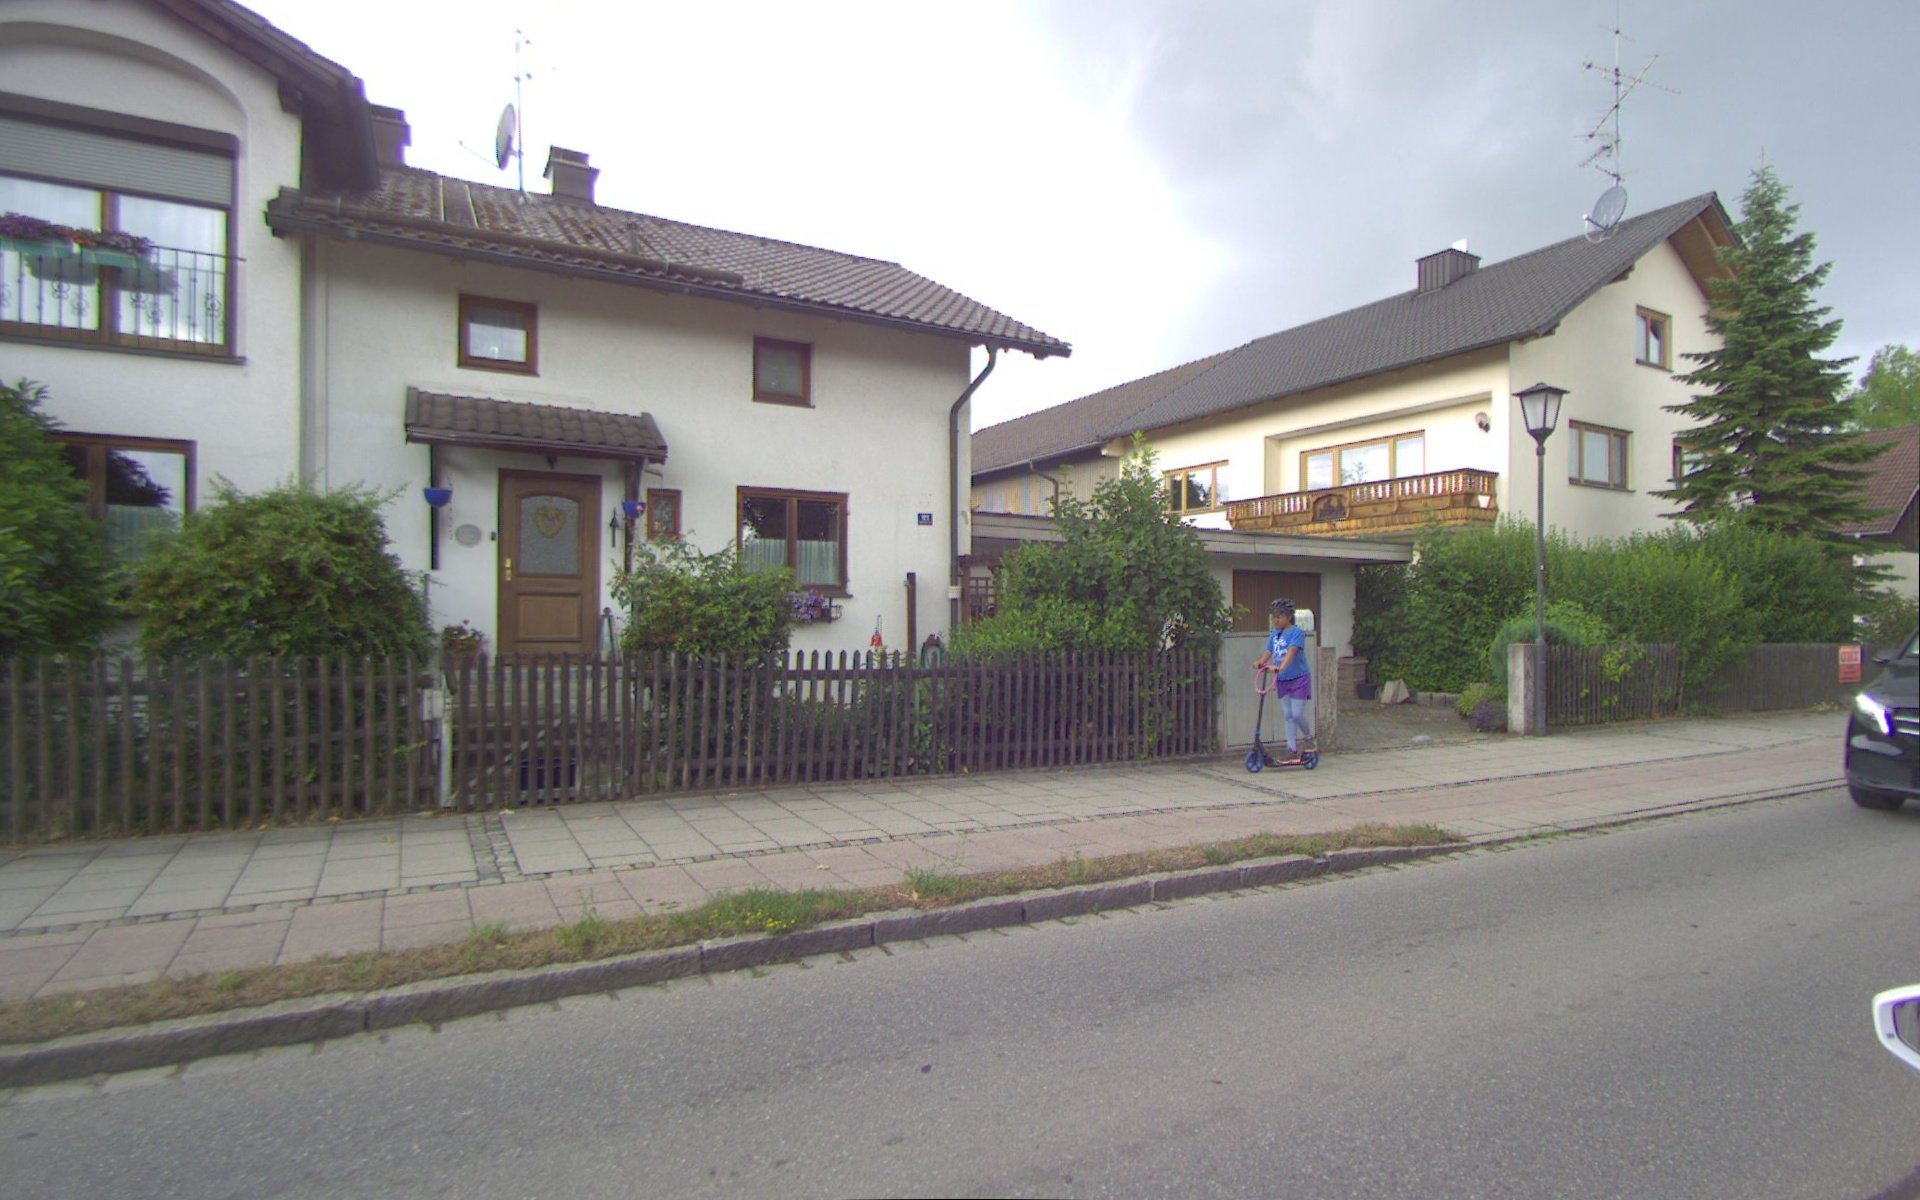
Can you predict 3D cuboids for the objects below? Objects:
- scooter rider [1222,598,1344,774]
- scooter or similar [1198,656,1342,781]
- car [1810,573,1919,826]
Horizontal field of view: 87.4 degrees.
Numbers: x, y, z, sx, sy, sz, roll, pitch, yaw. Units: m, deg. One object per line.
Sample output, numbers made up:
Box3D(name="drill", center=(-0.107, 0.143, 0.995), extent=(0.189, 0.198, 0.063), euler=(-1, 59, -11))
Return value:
Box3D(name="scooter rider", center=(3.019, 0.773, 9.404), extent=(0.791, 1.545, 0.690), euler=(1, 1, -29))
Box3D(name="scooter or similar", center=(2.879, 1.065, 9.330), extent=(1.164, 1.051, 0.658), euler=(1, -1, -29))
Box3D(name="car", center=(9.387, 0.797, 8.417), extent=(4.890, 1.878, 1.955), euler=(1, 1, -31))
